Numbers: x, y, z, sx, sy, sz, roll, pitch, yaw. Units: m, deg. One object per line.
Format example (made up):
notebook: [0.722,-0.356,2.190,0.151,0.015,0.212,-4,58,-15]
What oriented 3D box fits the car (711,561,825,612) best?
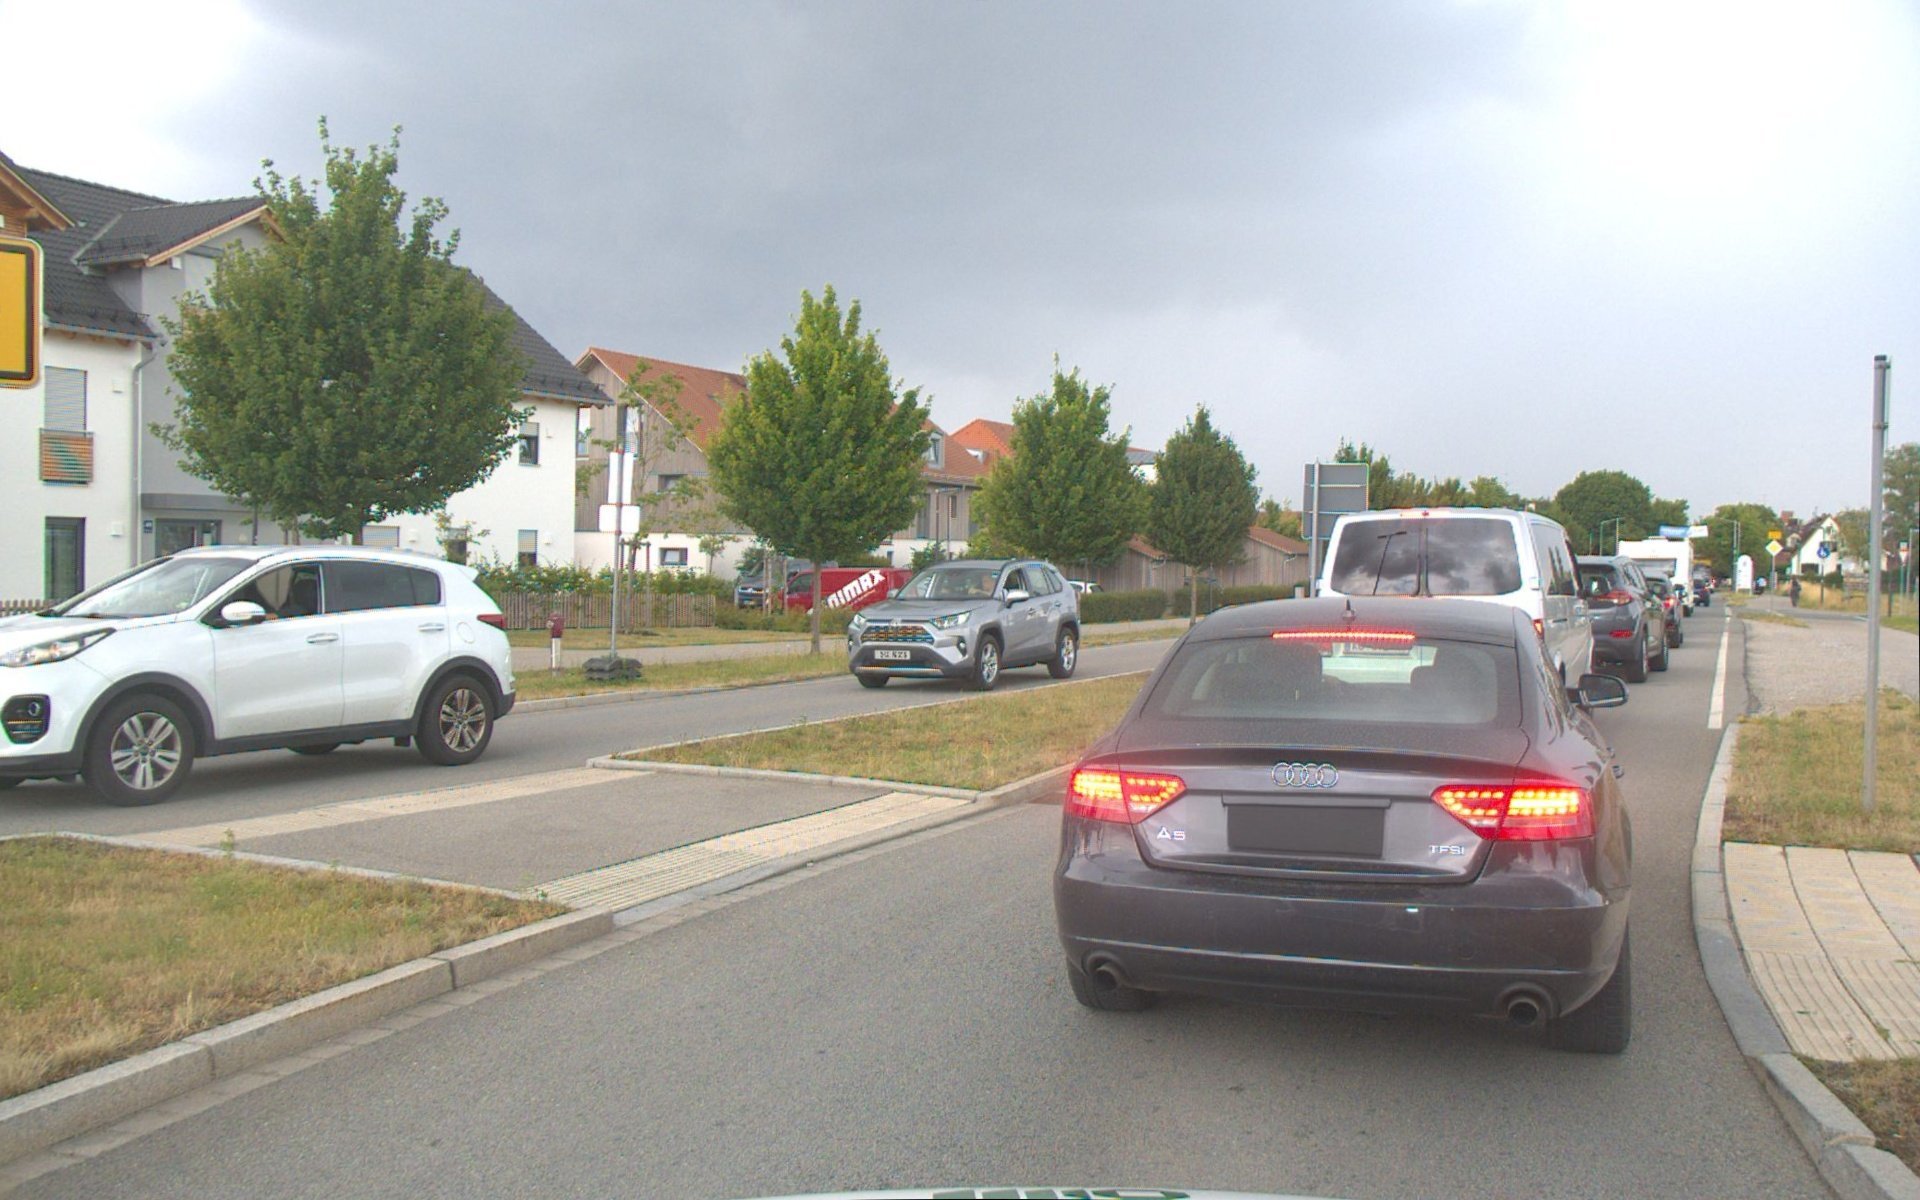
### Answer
car: [-7.157,-0.494,61.999,1.957,1.802,4.457,2,1,30]

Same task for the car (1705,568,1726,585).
car: [67.878,-2.087,148.528,1.582,1.433,3.613,2,1,26]

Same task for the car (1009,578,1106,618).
car: [4.049,-0.087,68.595,3.654,1.507,1.686,2,2,22]

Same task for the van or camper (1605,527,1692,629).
van or camper: [24.651,-0.759,59.052,2.573,3.381,6.817,2,1,24]

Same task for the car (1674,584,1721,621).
car: [37.865,0.106,85.013,1.579,1.825,4.003,2,1,15]

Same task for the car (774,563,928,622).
car: [-3.441,-0.263,52.047,4.445,1.709,1.997,2,1,29]

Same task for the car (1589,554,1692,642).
car: [13.773,-0.063,33.355,1.741,1.646,3.998,1,1,25]

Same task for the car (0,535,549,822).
car: [-5.139,0.421,11.886,1.676,1.654,4.443,0,1,29]

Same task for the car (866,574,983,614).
car: [-1.305,-0.238,60.436,3.835,1.338,1.842,2,1,23]

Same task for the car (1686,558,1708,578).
car: [86.334,-3.784,193.610,1.956,2.250,3.993,2,2,29]

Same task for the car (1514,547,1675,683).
car: [8.809,0.161,22.784,1.742,1.646,3.997,2,1,25]

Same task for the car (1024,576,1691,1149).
car: [1.738,0.622,6.360,1.747,1.416,4.133,0,1,21]

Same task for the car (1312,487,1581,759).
car: [4.299,0.119,14.203,1.829,1.967,4.000,2,1,22]

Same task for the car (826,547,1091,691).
car: [0.123,0.184,22.396,1.953,1.733,4.634,1,1,23]
